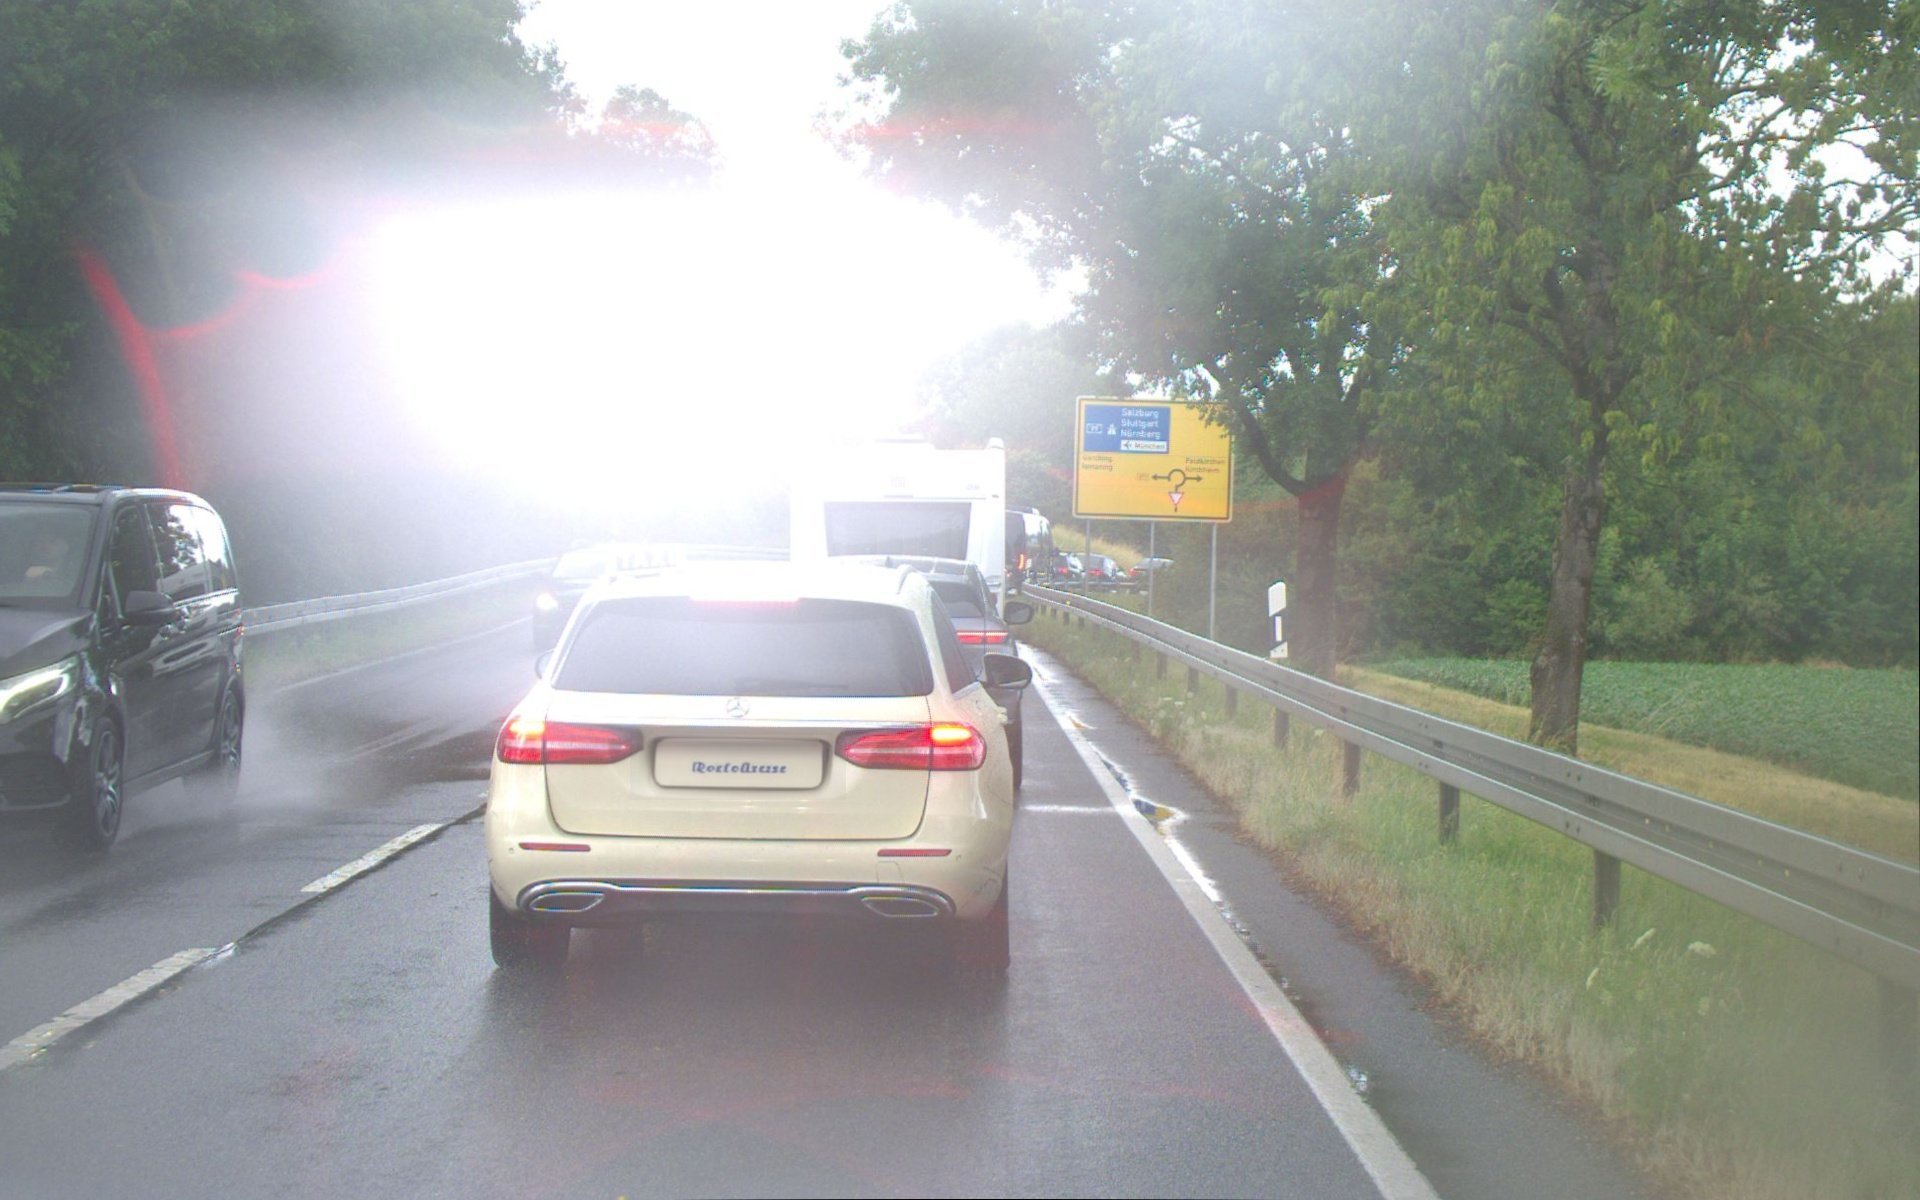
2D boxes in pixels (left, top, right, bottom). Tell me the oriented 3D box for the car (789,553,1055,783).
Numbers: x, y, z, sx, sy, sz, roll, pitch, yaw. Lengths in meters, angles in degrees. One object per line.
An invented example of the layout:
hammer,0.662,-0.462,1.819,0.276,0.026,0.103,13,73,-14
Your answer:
car,-0.207,0.400,23.569,1.664,1.426,4.000,0,1,1

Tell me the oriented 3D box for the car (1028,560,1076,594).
car,3.098,-0.785,116.040,1.551,1.114,4.000,1,0,1

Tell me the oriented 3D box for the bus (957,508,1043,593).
bus,0.934,-1.193,82.914,1.993,2.007,4.000,0,1,0

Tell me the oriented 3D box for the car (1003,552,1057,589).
car,2.150,-0.914,106.908,1.551,1.114,4.000,1,0,-1

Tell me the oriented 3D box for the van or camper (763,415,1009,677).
van or camper,-0.731,-0.602,38.455,2.489,2.676,5.700,1,1,1

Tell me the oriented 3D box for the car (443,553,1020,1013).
car,-0.709,0.565,13.138,1.865,1.471,4.000,0,1,1

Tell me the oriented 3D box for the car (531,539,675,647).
car,-4.985,-0.126,48.431,1.628,1.433,3.960,1,1,0

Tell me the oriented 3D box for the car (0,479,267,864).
car,-5.015,0.295,18.236,1.828,1.796,4.415,0,1,-1
